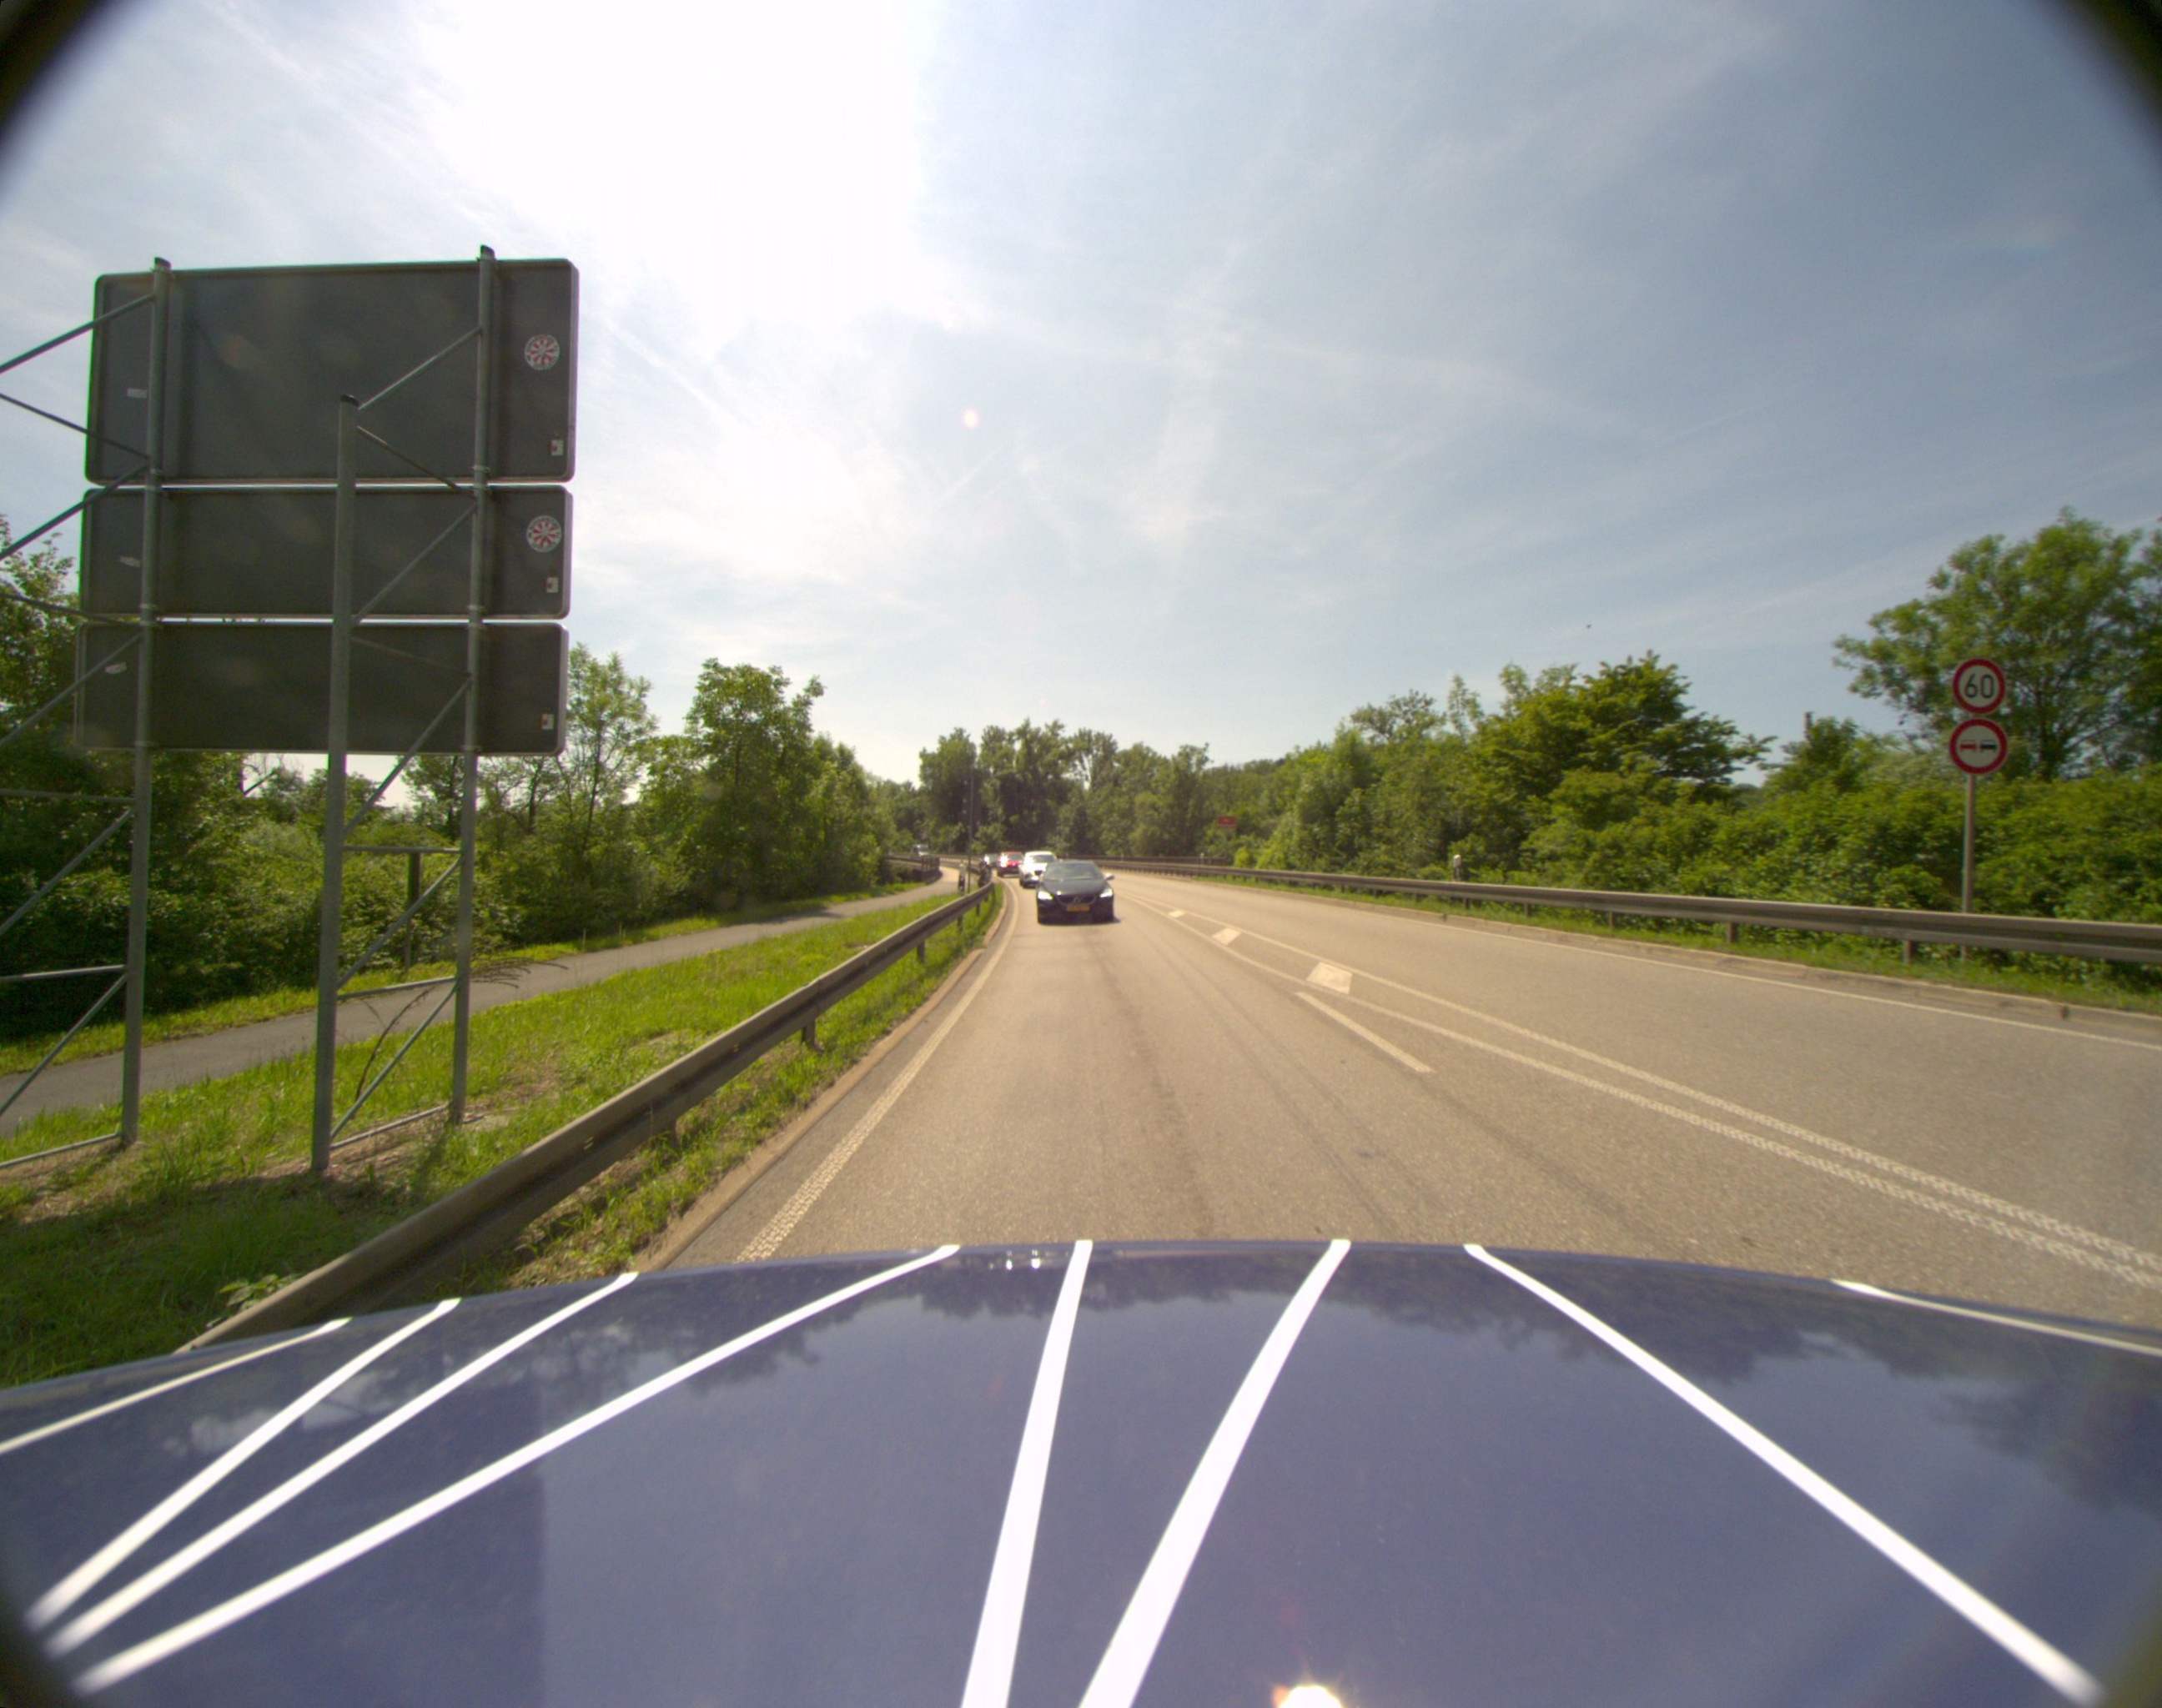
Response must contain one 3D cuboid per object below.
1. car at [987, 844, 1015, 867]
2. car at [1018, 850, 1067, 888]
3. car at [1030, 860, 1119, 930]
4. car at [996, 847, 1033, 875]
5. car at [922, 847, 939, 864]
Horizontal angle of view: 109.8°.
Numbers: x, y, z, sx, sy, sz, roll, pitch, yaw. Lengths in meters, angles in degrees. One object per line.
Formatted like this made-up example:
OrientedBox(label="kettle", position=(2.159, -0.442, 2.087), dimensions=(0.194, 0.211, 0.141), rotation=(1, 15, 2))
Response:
OrientedBox(label="car", position=(-7.589, 0.145, 71.921), dimensions=(2.001, 2.002, 3.994), rotation=(-3, 2, -14))
OrientedBox(label="car", position=(-1.857, 0.656, 35.722), dimensions=(1.910, 1.638, 3.947), rotation=(-2, 0, -8))
OrientedBox(label="car", position=(-0.268, 0.912, 18.665), dimensions=(1.910, 1.413, 3.948), rotation=(-2, 0, -4))
OrientedBox(label="car", position=(-4.497, 0.462, 50.702), dimensions=(2.000, 1.765, 3.996), rotation=(-1, 0, -11))
OrientedBox(label="car", position=(-23.486, 0.142, 118.442), dimensions=(2.001, 2.471, 4.851), rotation=(-3, 2, -16))
